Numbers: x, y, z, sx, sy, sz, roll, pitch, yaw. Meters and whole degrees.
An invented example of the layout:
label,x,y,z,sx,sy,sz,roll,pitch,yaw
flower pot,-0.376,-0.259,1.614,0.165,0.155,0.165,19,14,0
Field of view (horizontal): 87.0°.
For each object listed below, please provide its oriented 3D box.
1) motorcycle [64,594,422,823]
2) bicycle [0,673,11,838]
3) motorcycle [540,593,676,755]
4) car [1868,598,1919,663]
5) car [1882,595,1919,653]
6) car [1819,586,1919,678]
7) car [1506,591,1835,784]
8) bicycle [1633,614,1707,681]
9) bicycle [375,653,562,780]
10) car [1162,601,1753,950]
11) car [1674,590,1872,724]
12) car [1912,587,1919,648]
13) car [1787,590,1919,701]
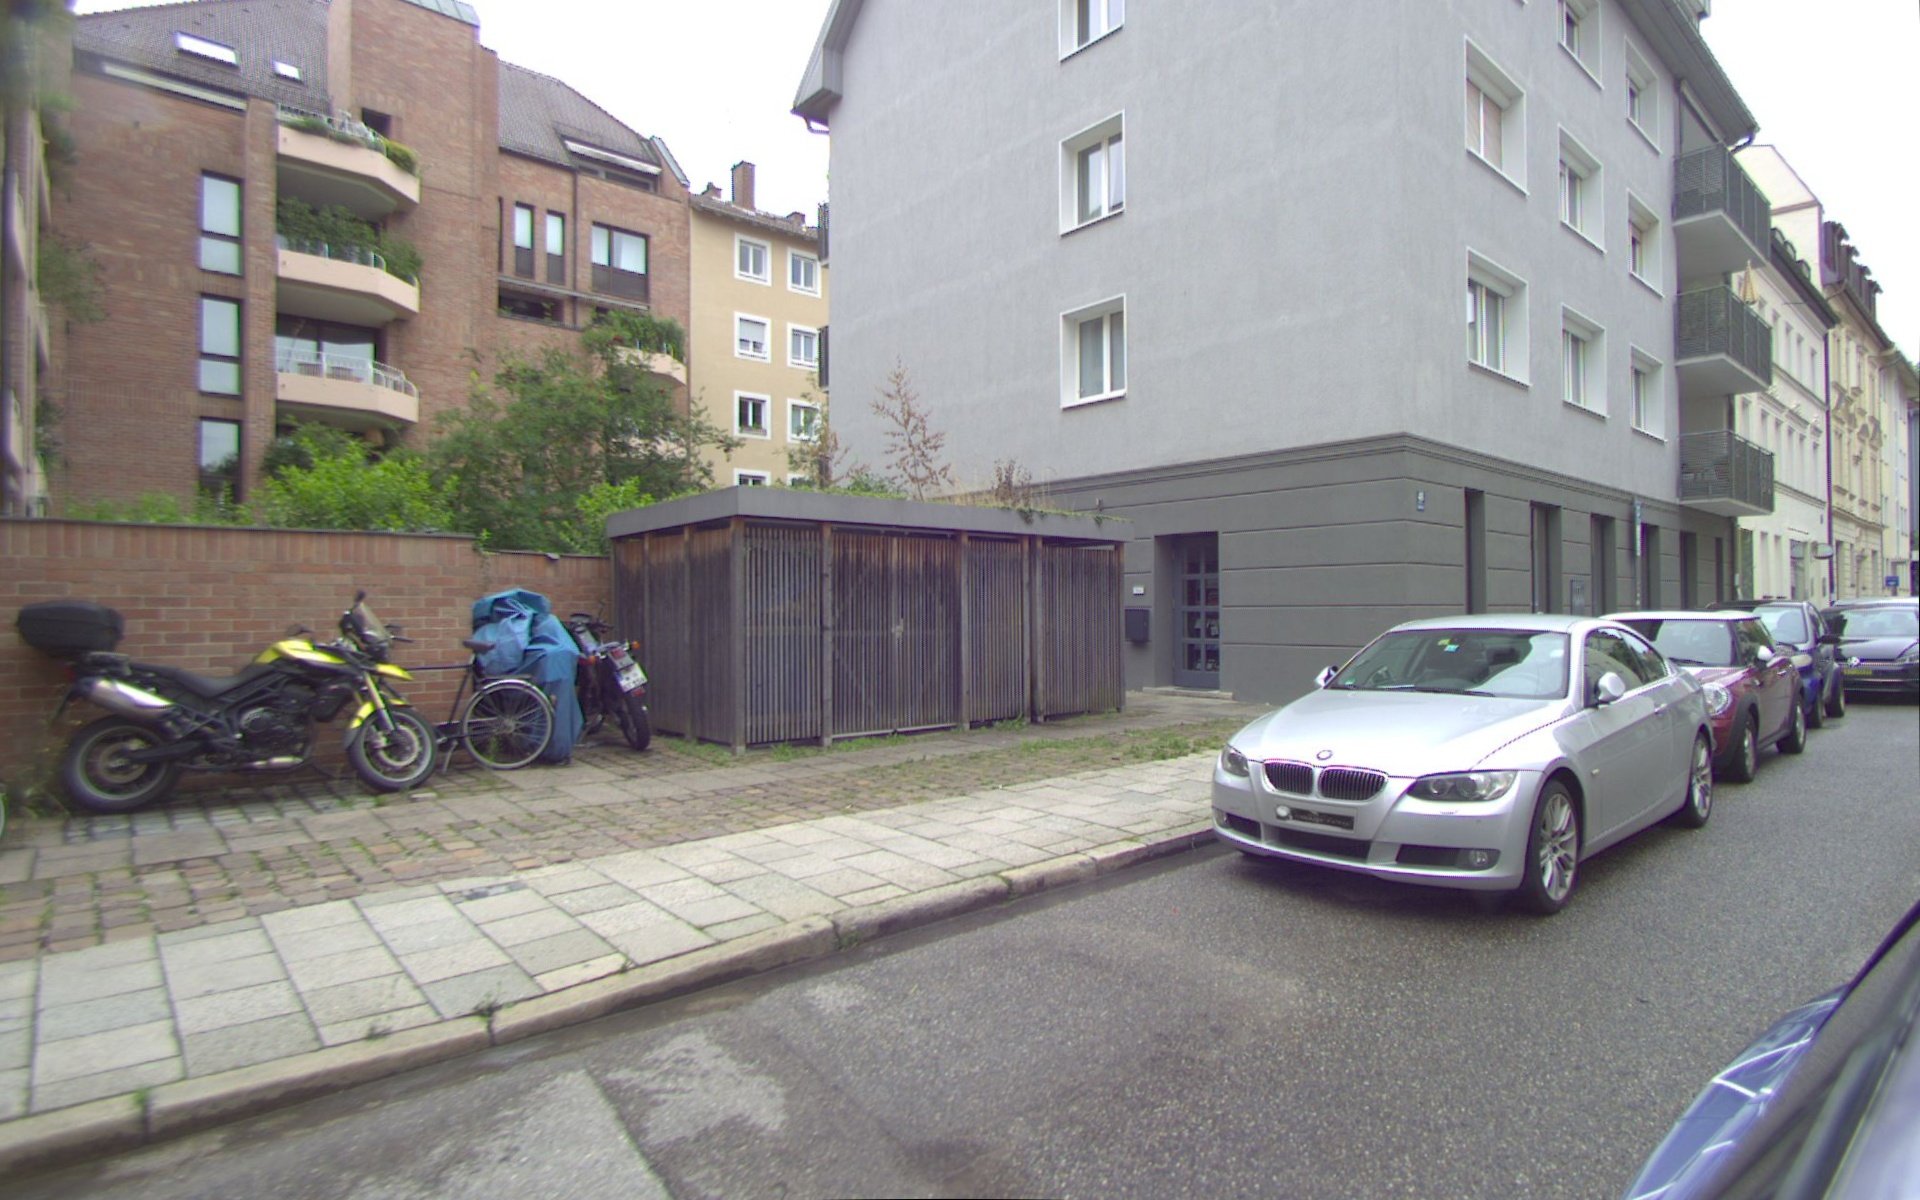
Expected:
label,x,y,z,sx,sy,sz,roll,pitch,yaw
motorcycle,-4.712,0.650,6.815,1.901,1.361,0.542,-1,0,-30
bicycle,-5.538,0.882,5.552,0.406,0.870,1.318,0,0,-40
motorcycle,-3.431,0.621,9.688,0.540,1.360,2.523,0,0,-35
car,21.768,0.637,22.556,3.876,1.380,1.811,0,0,-41
car,24.923,0.571,25.725,4.274,1.403,1.802,0,0,-42
car,17.865,0.534,19.245,4.244,1.590,1.877,0,0,-43
car,7.006,0.690,9.813,4.079,1.480,1.747,0,-1,-43
bicycle,12.450,0.804,17.719,1.961,1.105,0.570,0,-1,-40
bicycle,-3.903,0.896,8.089,1.296,0.870,0.375,-1,0,-38
car,3.407,0.751,6.441,4.522,1.435,1.838,0,-1,-43
car,10.639,0.660,13.184,3.147,1.531,1.523,0,-2,-42
car,28.612,0.469,28.891,4.434,1.682,1.678,0,-1,-42
car,14.599,0.643,15.926,4.219,1.548,1.841,0,-1,-43
